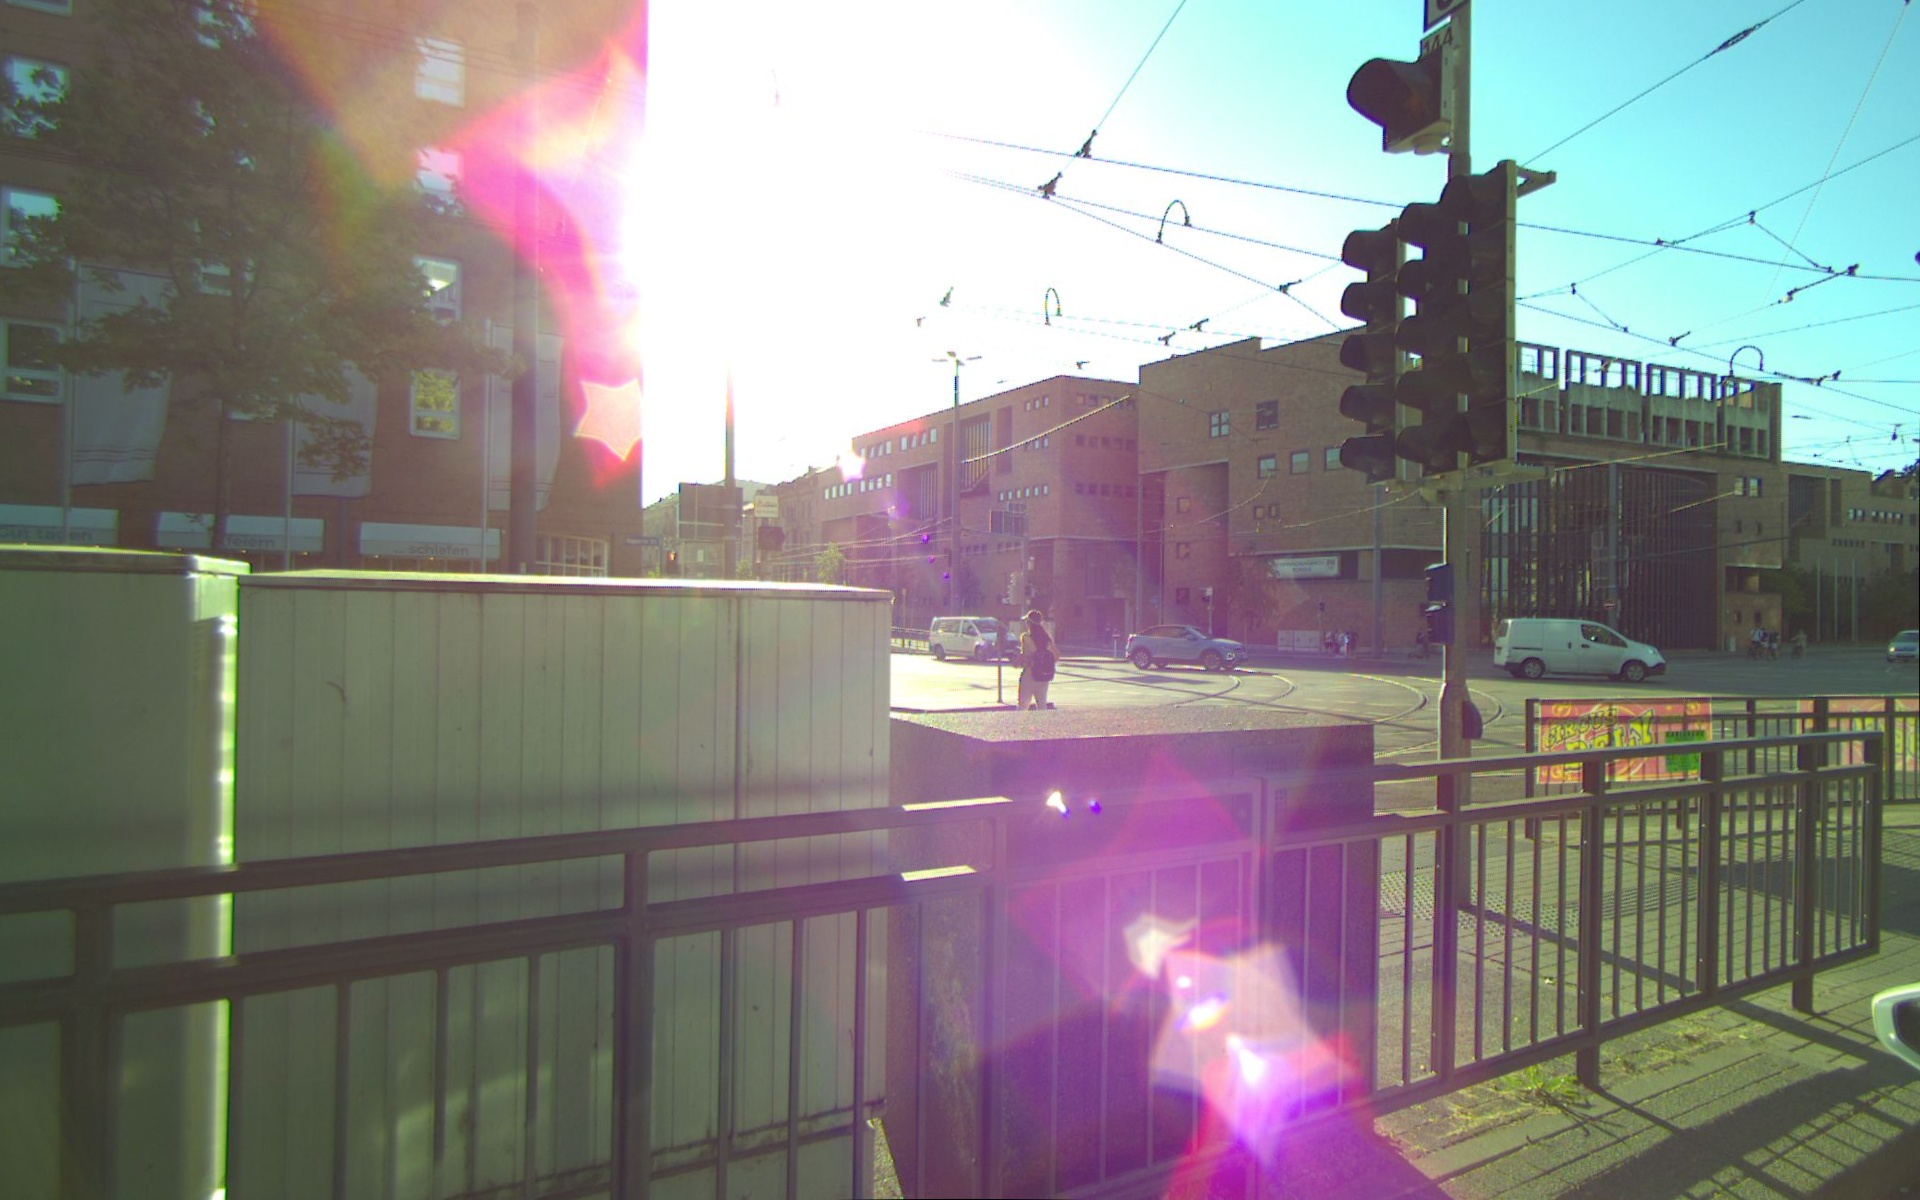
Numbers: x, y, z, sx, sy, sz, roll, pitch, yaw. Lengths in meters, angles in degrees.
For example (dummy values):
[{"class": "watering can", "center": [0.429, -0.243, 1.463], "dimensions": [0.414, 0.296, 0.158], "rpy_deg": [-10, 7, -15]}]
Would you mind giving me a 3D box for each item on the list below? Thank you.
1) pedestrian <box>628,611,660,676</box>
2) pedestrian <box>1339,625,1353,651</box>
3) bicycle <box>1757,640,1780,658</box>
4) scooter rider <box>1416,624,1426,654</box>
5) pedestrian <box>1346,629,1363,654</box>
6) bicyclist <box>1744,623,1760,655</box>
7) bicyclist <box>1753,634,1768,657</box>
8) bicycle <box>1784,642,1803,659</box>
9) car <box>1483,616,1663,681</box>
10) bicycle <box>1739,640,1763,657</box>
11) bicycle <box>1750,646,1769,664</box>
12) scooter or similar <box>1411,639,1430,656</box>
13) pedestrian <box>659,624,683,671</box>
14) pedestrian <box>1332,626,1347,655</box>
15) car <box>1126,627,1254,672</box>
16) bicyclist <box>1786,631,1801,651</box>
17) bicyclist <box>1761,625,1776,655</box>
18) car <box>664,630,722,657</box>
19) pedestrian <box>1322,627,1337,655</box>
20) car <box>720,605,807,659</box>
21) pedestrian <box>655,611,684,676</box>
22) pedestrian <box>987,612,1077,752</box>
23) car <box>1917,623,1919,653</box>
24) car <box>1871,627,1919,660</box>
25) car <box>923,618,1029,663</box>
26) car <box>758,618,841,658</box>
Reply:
[{"class": "pedestrian", "center": [-9.197, 1.256, 29.202], "dimensions": [0.713, 1.837, 0.904], "rpy_deg": [1, -1, -28]}, {"class": "pedestrian", "center": [22.565, 2.228, 58.669], "dimensions": [0.611, 1.473, 0.562], "rpy_deg": [2, -2, -45]}, {"class": "bicycle", "center": [44.991, 2.736, 55.892], "dimensions": [1.557, 0.976, 0.470], "rpy_deg": [1, -1, -30]}, {"class": "scooter rider", "center": [25.427, 2.162, 55.393], "dimensions": [0.429, 1.669, 0.229], "rpy_deg": [0, -1, 15]}, {"class": "pedestrian", "center": [22.260, 2.338, 56.705], "dimensions": [0.670, 1.357, 0.603], "rpy_deg": [1, -1, -14]}, {"class": "bicyclist", "center": [44.433, 2.181, 56.380], "dimensions": [0.574, 1.754, 0.534], "rpy_deg": [1, -1, -30]}, {"class": "bicyclist", "center": [46.647, 2.651, 58.562], "dimensions": [0.574, 1.321, 0.503], "rpy_deg": [1, -1, -30]}, {"class": "bicycle", "center": [49.433, 2.993, 59.589], "dimensions": [1.332, 0.976, 0.449], "rpy_deg": [1, -1, -30]}, {"class": "car", "center": [18.735, 1.462, 30.922], "dimensions": [4.435, 1.891, 1.762], "rpy_deg": [0, -1, 19]}, {"class": "bicycle", "center": [44.425, 2.720, 56.386], "dimensions": [1.568, 0.976, 0.539], "rpy_deg": [1, -1, -30]}, {"class": "bicycle", "center": [46.585, 3.202, 58.521], "dimensions": [1.304, 0.976, 0.465], "rpy_deg": [1, -1, -30]}, {"class": "scooter or similar", "center": [25.383, 2.638, 55.377], "dimensions": [0.931, 0.911, 0.176], "rpy_deg": [0, -1, 14]}, {"class": "pedestrian", "center": [-10.561, 1.725, 36.671], "dimensions": [0.658, 1.669, 0.638], "rpy_deg": [1, -1, -34]}, {"class": "pedestrian", "center": [21.739, 2.327, 57.577], "dimensions": [0.543, 1.670, 0.596], "rpy_deg": [1, -1, -30]}, {"class": "car", "center": [7.936, 1.671, 34.853], "dimensions": [4.036, 1.445, 1.627], "rpy_deg": [-1, -2, 35]}, {"class": "bicyclist", "center": [49.425, 2.421, 59.558], "dimensions": [0.574, 1.194, 0.503], "rpy_deg": [1, -1, -30]}, {"class": "bicyclist", "center": [44.918, 2.231, 55.820], "dimensions": [0.574, 1.624, 0.456], "rpy_deg": [1, -1, -30]}, {"class": "car", "center": [-14.390, 2.296, 53.996], "dimensions": [1.729, 1.372, 3.960], "rpy_deg": [1, -2, -36]}, {"class": "pedestrian", "center": [21.519, 2.376, 58.512], "dimensions": [0.582, 1.635, 0.593], "rpy_deg": [1, -1, -31]}, {"class": "car", "center": [-9.437, 1.515, 47.941], "dimensions": [1.982, 2.419, 5.156], "rpy_deg": [1, -2, -38]}, {"class": "pedestrian", "center": [-8.582, 1.274, 29.673], "dimensions": [0.647, 1.864, 0.835], "rpy_deg": [1, -1, -28]}, {"class": "pedestrian", "center": [0.896, 0.999, 12.616], "dimensions": [0.709, 1.669, 0.953], "rpy_deg": [1, -1, -30]}, {"class": "car", "center": [55.257, 2.113, 55.896], "dimensions": [3.954, 1.661, 1.983], "rpy_deg": [1, -2, -31]}, {"class": "car", "center": [48.988, 2.225, 51.782], "dimensions": [3.954, 1.661, 1.983], "rpy_deg": [1, -2, -31]}, {"class": "car", "center": [0.617, 1.717, 43.828], "dimensions": [1.947, 1.873, 5.279], "rpy_deg": [1, -2, -34]}, {"class": "car", "center": [-8.337, 1.906, 51.707], "dimensions": [1.982, 1.928, 5.156], "rpy_deg": [1, -2, -38]}]
